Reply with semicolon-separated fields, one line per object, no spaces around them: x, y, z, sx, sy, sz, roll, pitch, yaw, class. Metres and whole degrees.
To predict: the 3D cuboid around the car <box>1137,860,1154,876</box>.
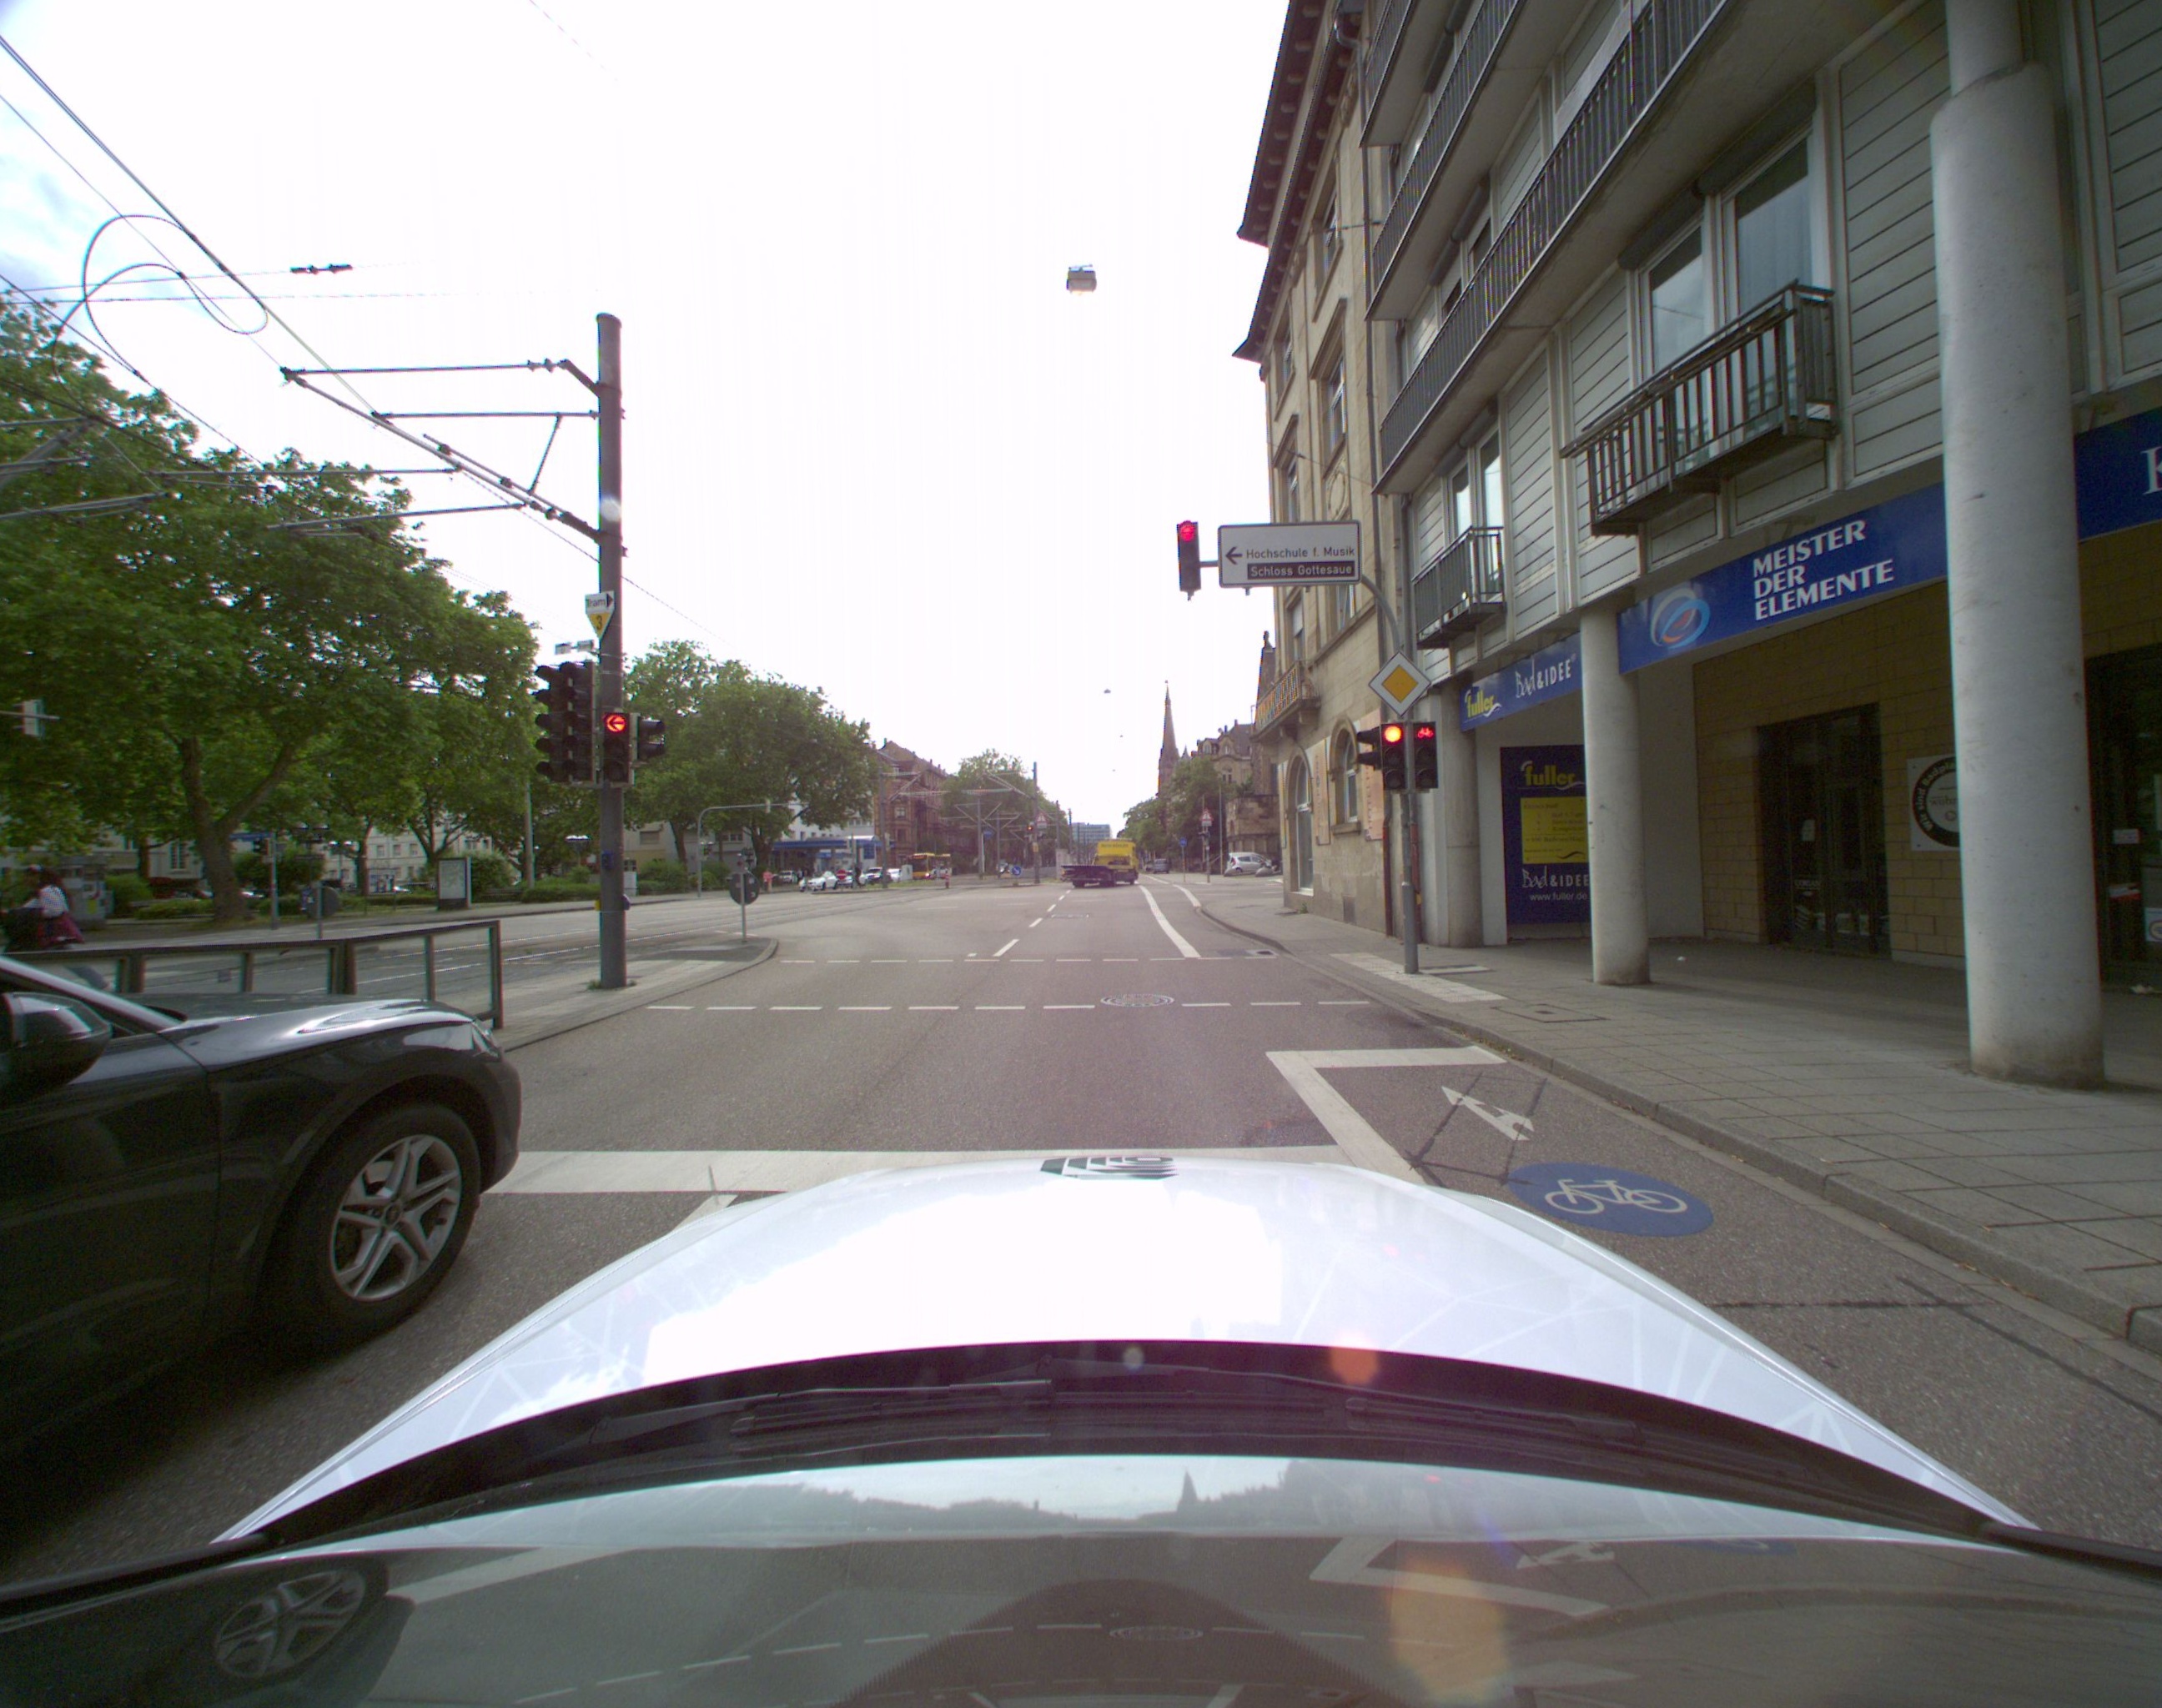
7.895;1.695;99.591;1.985;2.014;4.004;0;-1;4;car

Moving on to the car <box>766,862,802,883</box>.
-29.765;1.820;81.775;1.986;2.014;4.001;-2;0;2;car

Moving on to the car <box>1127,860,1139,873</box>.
8.700;2.051;136.177;1.986;2.014;4.001;0;-1;2;car

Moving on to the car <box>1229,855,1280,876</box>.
13.751;0.903;64.710;3.699;1.563;2.001;0;-1;2;car

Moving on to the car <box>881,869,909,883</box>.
-18.153;2.104;79.637;1.649;1.321;3.641;0;-1;3;car

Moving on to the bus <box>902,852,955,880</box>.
-17.868;1.353;96.387;3.217;3.035;12.323;0;0;4;bus

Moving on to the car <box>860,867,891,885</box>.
-18.325;1.933;72.716;1.649;1.478;3.641;0;-1;3;car

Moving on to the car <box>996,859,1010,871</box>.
-13.591;1.965;142.111;1.986;2.013;4.002;0;0;2;car

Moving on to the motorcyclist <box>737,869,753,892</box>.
-22.682;1.813;54.987;0.617;1.520;0.874;-2;-1;2;motorcyclist

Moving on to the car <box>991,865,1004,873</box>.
-13.901;2.514;135.739;1.649;1.321;3.641;0;-1;3;car

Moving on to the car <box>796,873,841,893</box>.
-19.156;2.120;59.609;1.739;1.321;4.079;0;0;3;car

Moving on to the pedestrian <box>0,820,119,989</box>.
-12.271;0.585;9.735;0.733;1.950;0.666;0;-1;1;pedestrian

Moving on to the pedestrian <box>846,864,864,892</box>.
-14.298;1.505;51.546;0.863;1.713;0.692;-2;-1;5;pedestrian

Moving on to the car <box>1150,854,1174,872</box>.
8.978;0.986;89.948;1.979;1.855;4.042;-1;-1;14;car

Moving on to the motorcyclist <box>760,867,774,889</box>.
-21.599;1.658;56.046;0.617;1.520;0.874;-2;-1;2;motorcyclist

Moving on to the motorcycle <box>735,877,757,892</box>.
-22.670;2.059;55.157;0.604;0.928;1.953;-2;-1;2;motorcycle

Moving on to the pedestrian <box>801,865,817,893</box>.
-16.716;1.522;50.137;0.680;1.690;0.743;0;-1;6;pedestrian

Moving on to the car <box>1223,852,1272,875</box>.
13.931;0.787;68.234;3.699;1.855;2.001;0;-1;2;car

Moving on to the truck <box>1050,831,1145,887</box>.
1.203;0.271;46.598;3.032;2.769;9.855;-2;0;15;truck

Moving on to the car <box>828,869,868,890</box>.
-18.839;2.060;66.073;1.986;1.594;4.001;0;-1;2;car

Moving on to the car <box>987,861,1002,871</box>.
-15.047;2.064;142.088;1.986;1.610;4.001;0;-1;2;car

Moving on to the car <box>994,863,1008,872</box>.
-14.688;2.487;149.728;1.986;1.610;4.001;0;-1;2;car

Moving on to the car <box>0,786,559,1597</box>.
-3.065;0.683;1.226;1.727;1.637;4.228;0;-1;2;car

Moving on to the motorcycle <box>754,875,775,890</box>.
-21.639;1.962;55.711;0.604;0.928;1.953;-2;-1;2;motorcycle

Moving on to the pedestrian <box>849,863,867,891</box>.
-14.309;1.474;52.254;0.867;1.713;0.876;-2;-1;3;pedestrian
